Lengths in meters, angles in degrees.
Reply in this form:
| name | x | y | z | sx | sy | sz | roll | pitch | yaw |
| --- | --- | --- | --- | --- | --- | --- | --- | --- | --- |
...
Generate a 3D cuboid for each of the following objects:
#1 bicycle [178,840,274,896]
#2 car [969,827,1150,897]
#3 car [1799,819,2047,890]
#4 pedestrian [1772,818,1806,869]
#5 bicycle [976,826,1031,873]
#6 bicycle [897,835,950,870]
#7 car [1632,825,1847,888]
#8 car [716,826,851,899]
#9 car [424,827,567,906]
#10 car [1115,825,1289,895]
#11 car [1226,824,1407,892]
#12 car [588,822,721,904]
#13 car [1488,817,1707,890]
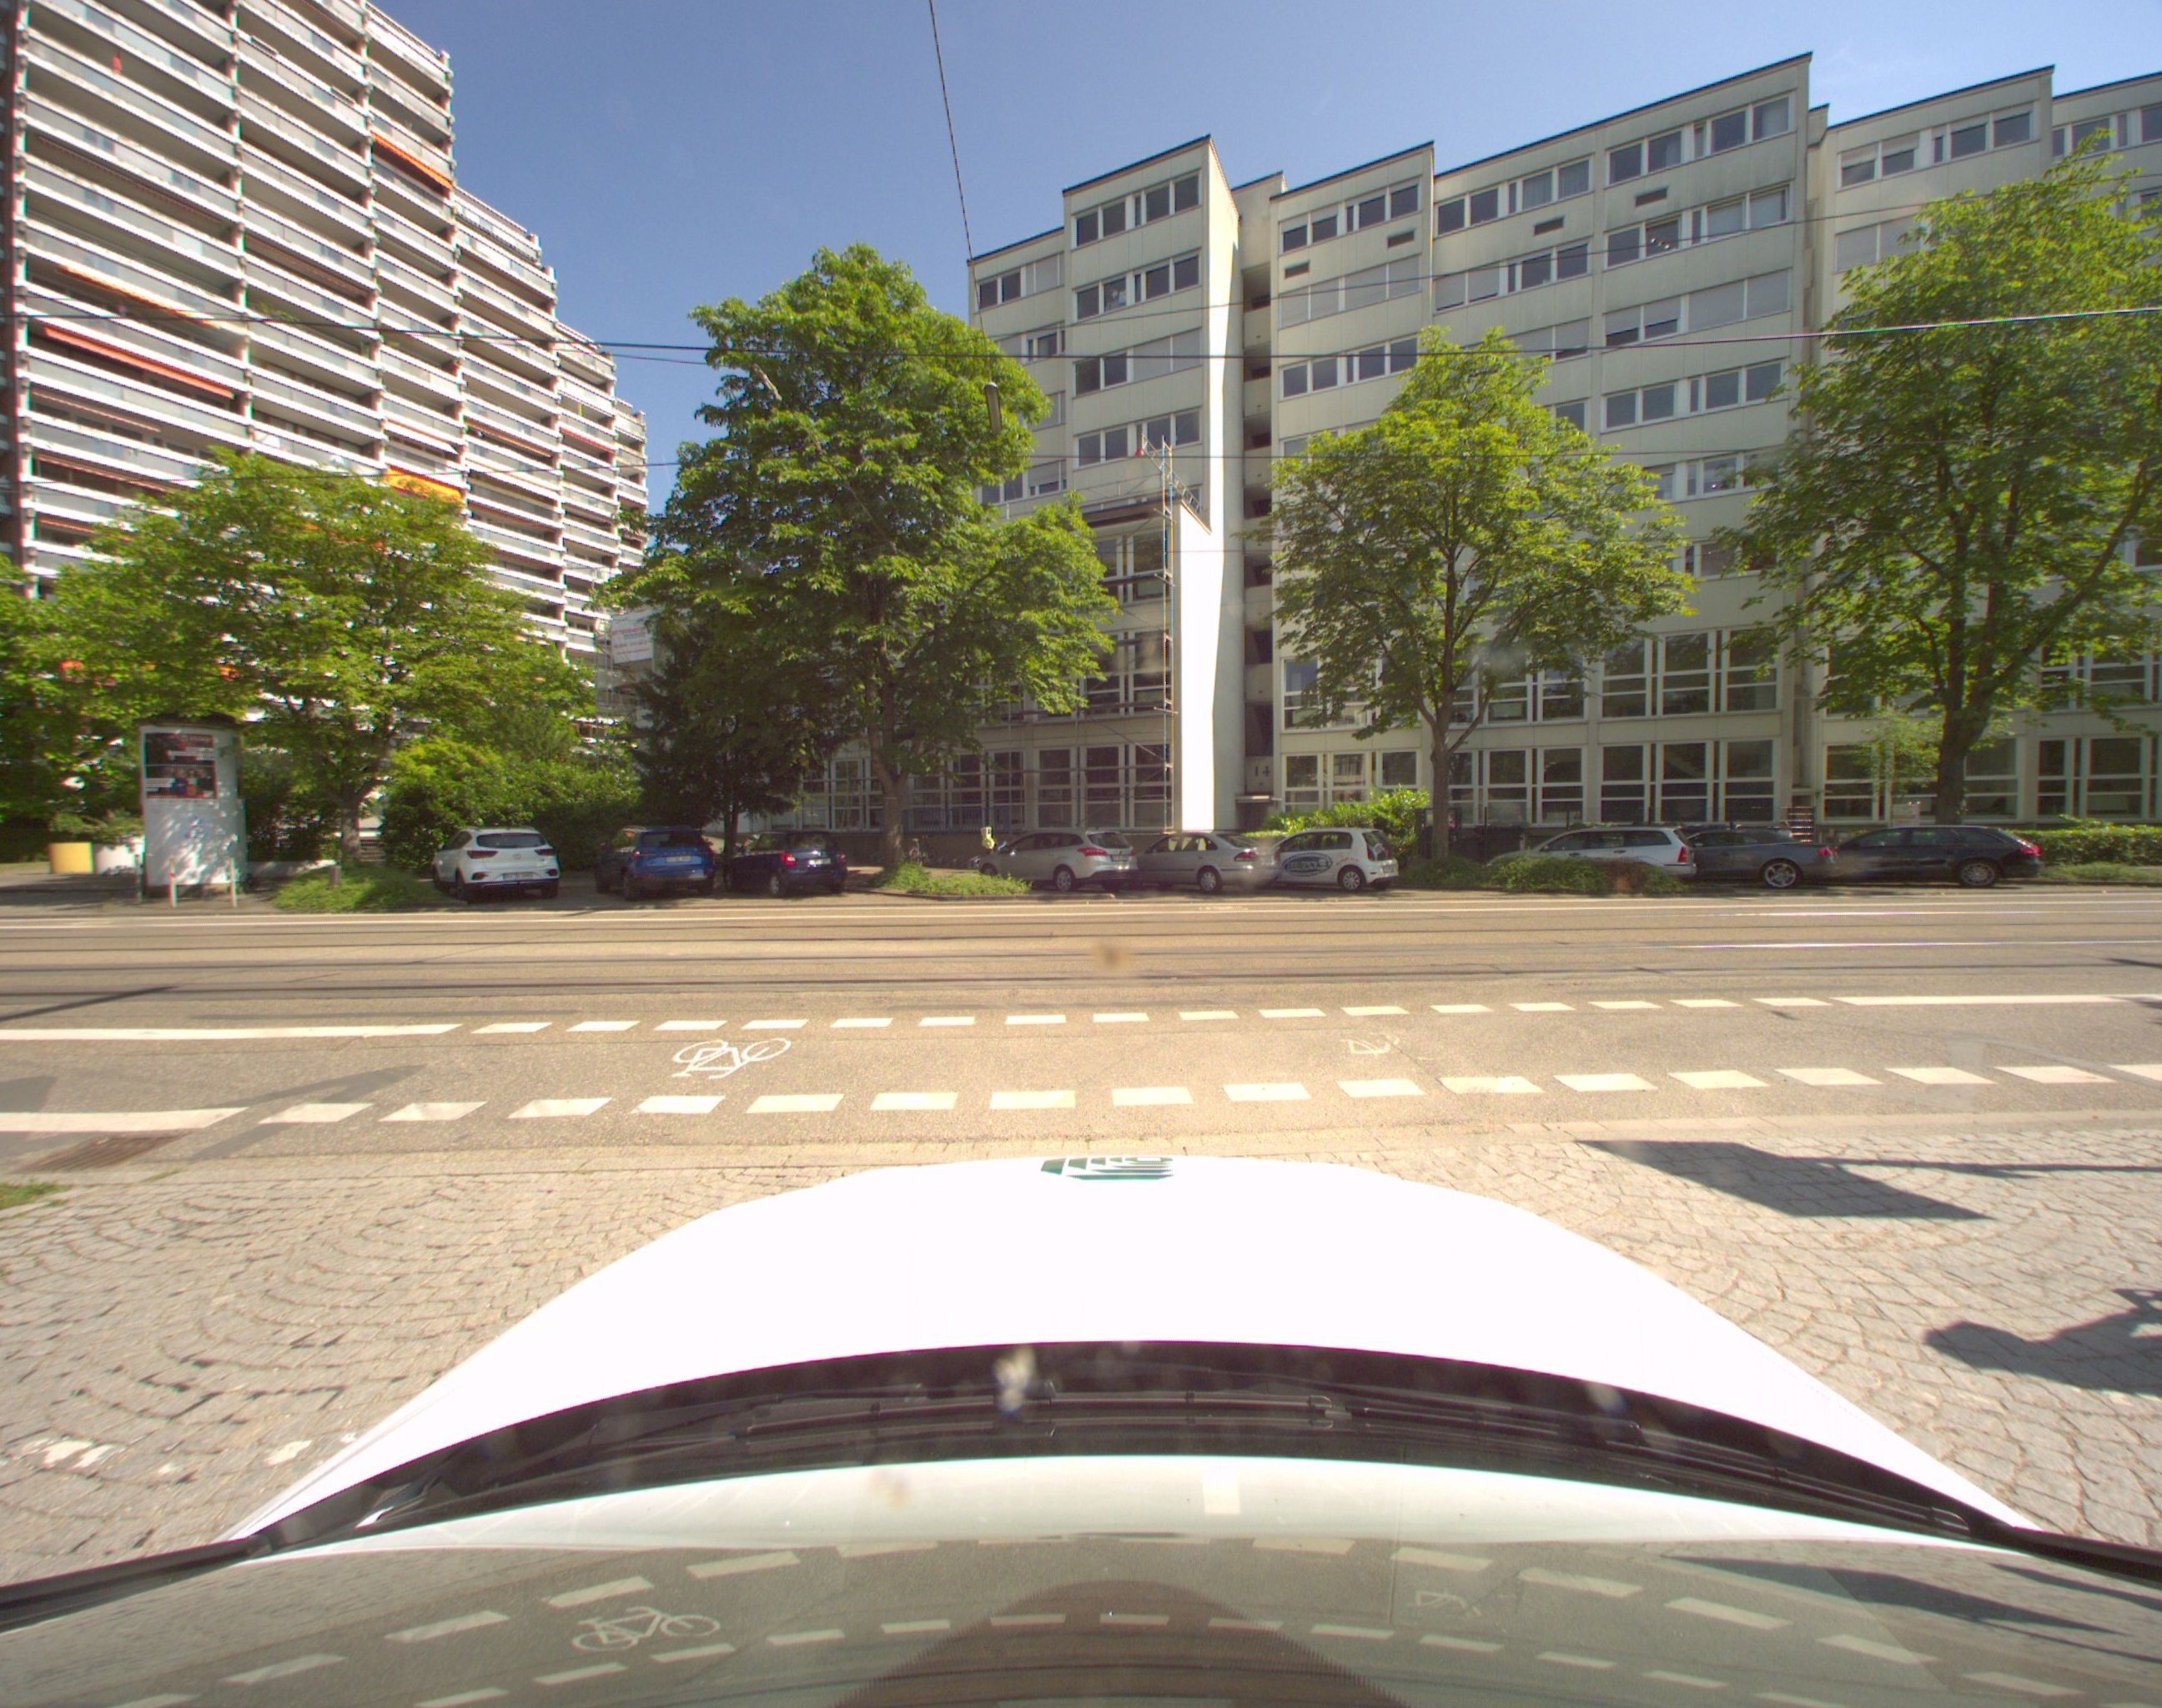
| name | x | y | z | sx | sy | sz | roll | pitch | yaw |
| --- | --- | --- | --- | --- | --- | --- | --- | --- | --- |
| bicycle | -20.972 | 0.329 | 19.998 | 1.614 | 1.308 | 0.546 | -1 | 1 | -7 |
| car | -0.608 | 0.107 | 19.578 | 4.380 | 1.486 | 1.795 | 1 | 2 | 44 |
| car | 19.429 | -0.047 | 19.046 | 3.896 | 1.486 | 1.568 | 1 | 2 | 44 |
| pedestrian | 20.695 | -0.314 | 23.807 | 0.618 | 1.460 | 0.424 | -1 | 2 | -4 |
| bicycle | -2.461 | -0.167 | 26.092 | 0.655 | 1.453 | 2.104 | 0 | 2 | 30 |
| bicycle | -5.188 | -0.078 | 26.956 | 0.735 | 1.085 | 2.214 | 0 | 2 | 18 |
| car | 15.684 | -0.004 | 19.534 | 3.896 | 1.357 | 1.568 | 1 | 2 | 44 |
| car | -6.968 | 0.133 | 18.964 | 3.415 | 1.530 | 1.586 | 1 | 2 | 44 |
| car | -13.451 | 0.203 | 18.623 | 3.895 | 1.606 | 1.831 | 1 | 2 | 42 |
| car | 2.794 | 0.082 | 19.375 | 1.622 | 1.486 | 3.897 | -2 | 2 | -44 |
| car | 5.602 | 0.067 | 19.666 | 1.623 | 1.486 | 3.896 | -2 | 2 | -45 |
| car | -9.982 | 0.116 | 18.937 | 1.790 | 1.622 | 3.899 | -3 | 5 | -42 |
| car | 12.404 | -0.046 | 19.732 | 4.289 | 1.604 | 1.568 | 1 | 1 | 41 |
